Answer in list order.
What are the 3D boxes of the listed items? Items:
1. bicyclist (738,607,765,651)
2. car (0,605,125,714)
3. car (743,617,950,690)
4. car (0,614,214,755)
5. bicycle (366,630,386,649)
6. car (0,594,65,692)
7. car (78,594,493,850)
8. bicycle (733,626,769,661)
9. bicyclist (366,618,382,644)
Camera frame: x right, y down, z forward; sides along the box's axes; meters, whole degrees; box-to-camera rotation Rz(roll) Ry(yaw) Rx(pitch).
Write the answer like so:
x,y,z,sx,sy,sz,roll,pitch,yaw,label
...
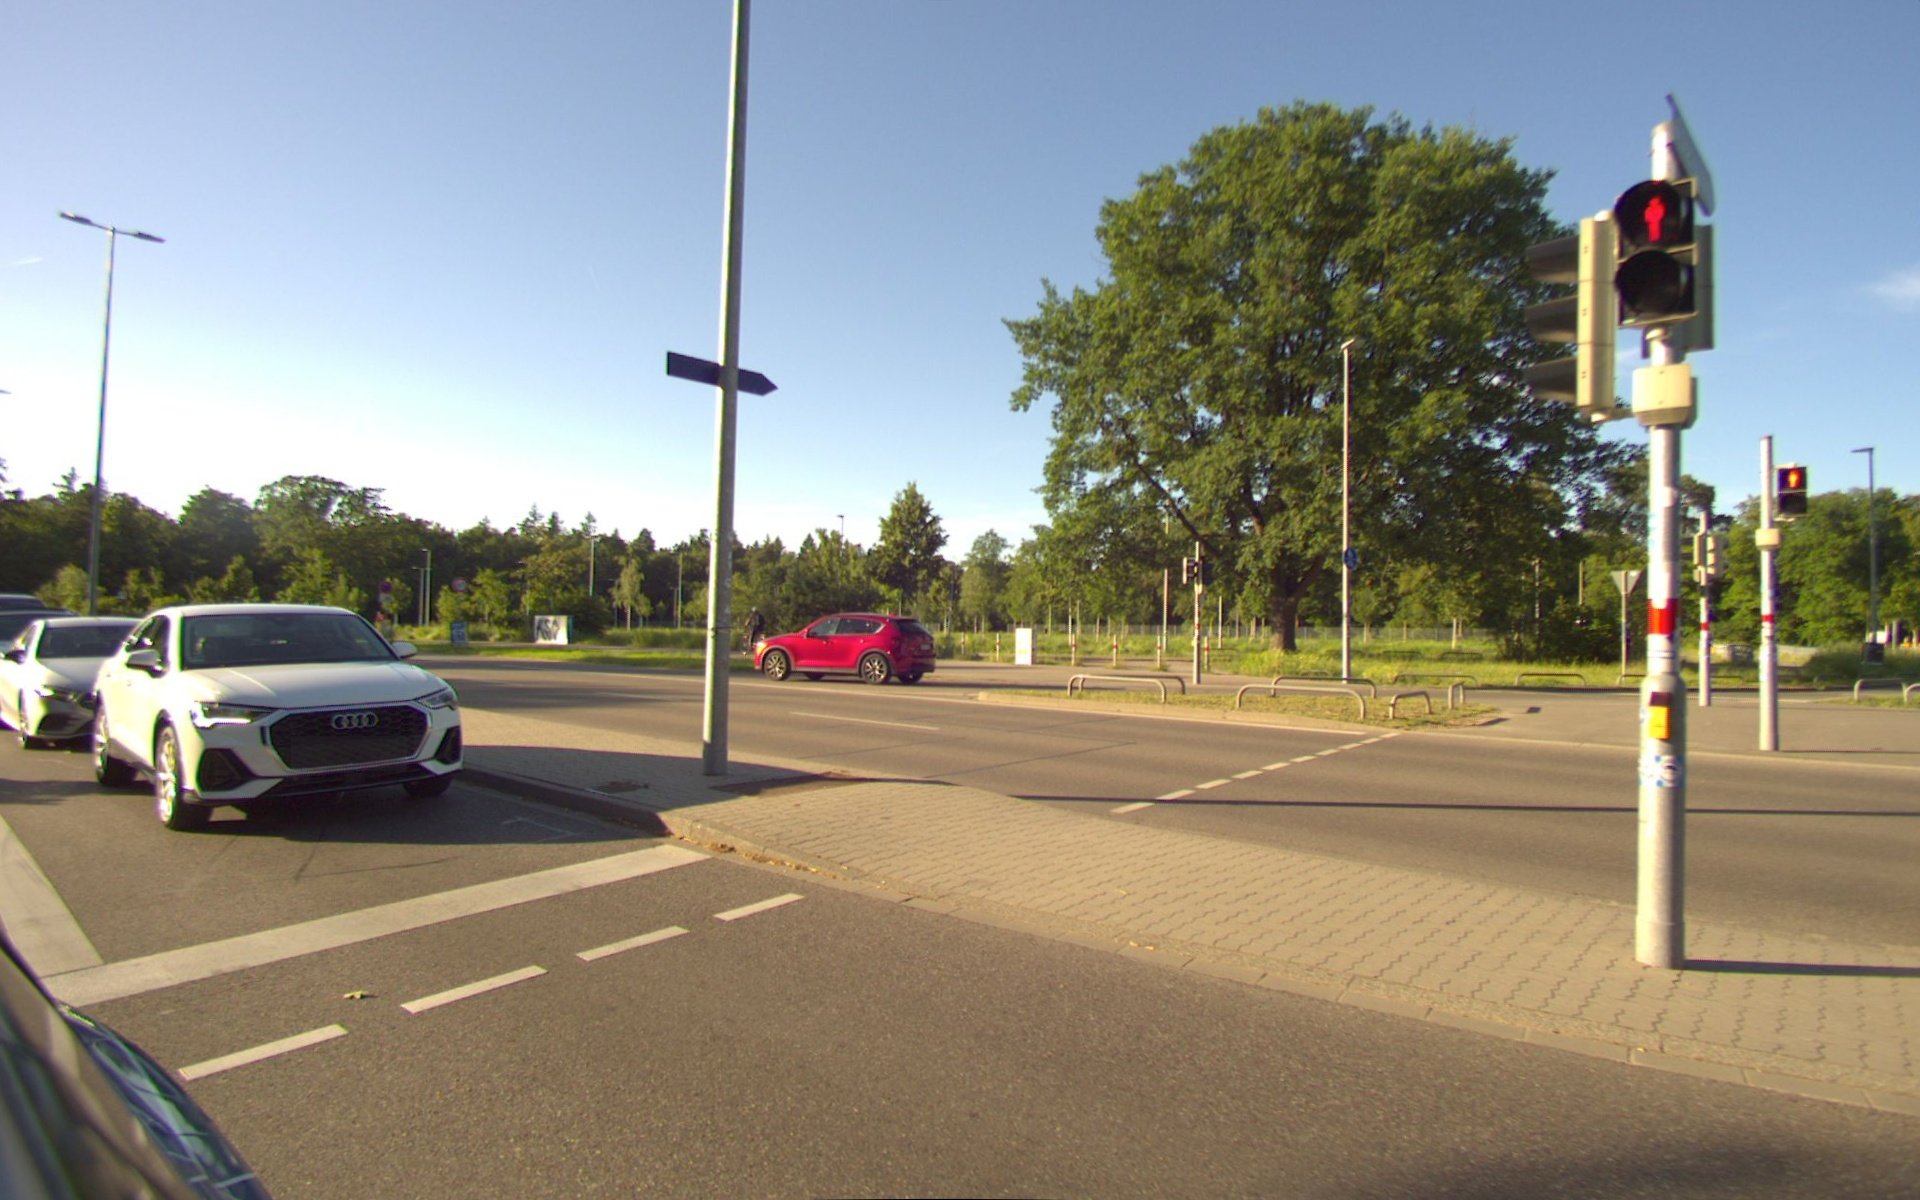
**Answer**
x,y,z,sx,sy,sz,roll,pitch,yaw,label
-7.837,1.095,37.985,0.672,1.623,0.801,0,-1,-41,bicyclist
-15.345,0.912,16.639,4.318,1.595,1.774,-1,-2,40,car
-2.669,1.199,23.828,4.544,1.565,1.877,-1,-1,24,car
-10.664,0.904,12.360,4.316,1.438,1.639,-1,-2,42,car
-33.460,2.249,57.964,1.361,1.027,0.576,-1,-1,42,bicycle
-20.359,0.859,21.060,5.231,1.887,1.860,-1,-2,40,car
-5.610,0.771,8.179,4.300,1.524,1.814,-1,-2,42,car
-7.885,1.619,38.075,0.487,1.247,1.797,0,-1,-42,bicycle
-33.484,1.764,57.853,0.800,1.424,0.585,-1,-1,43,bicyclist
